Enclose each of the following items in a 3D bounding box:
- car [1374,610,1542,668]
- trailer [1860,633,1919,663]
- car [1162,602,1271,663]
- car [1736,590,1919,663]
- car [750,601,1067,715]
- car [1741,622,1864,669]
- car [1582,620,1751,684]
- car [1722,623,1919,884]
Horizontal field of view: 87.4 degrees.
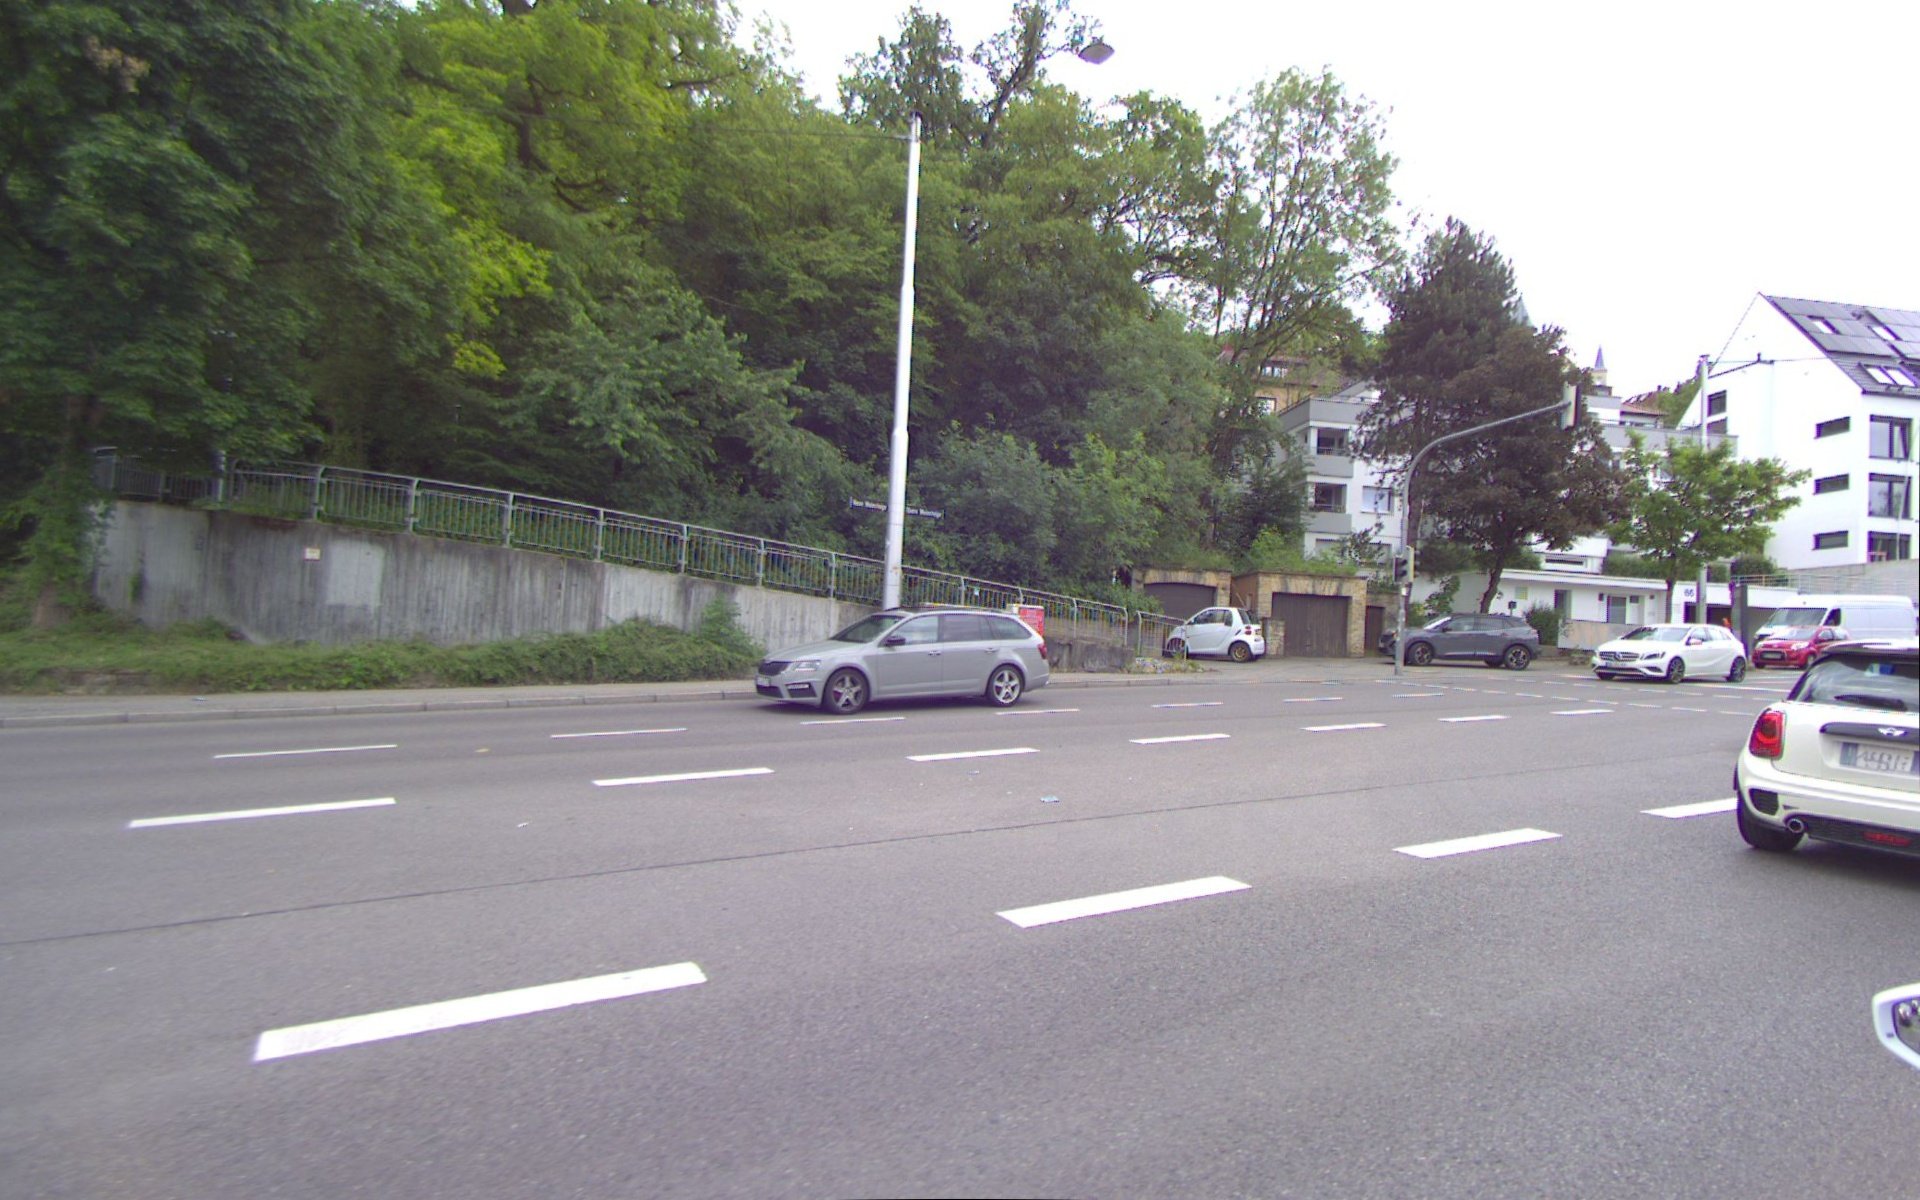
[{"bbox_3d":[14.249,1.097,28.921,4.049,1.560,1.600,1,-1,10],"label":"car"},{"bbox_3d":[38.949,1.941,40.400,4.551,1.127,2.244,1,-1,-19],"label":"trailer"},{"bbox_3d":[7.470,0.919,29.297,2.664,1.540,1.560,4,1,32],"label":"car"},{"bbox_3d":[33.373,1.035,38.445,7.308,2.602,2.229,1,-1,-20],"label":"car"},{"bbox_3d":[-0.681,0.800,15.004,4.518,1.468,1.641,1,0,-33],"label":"car"},{"bbox_3d":[28.292,1.512,33.737,3.871,1.485,1.618,1,-1,-24],"label":"car"},{"bbox_3d":[17.594,1.273,24.989,4.089,1.412,1.645,2,1,-26],"label":"car"},{"bbox_3d":[6.653,0.875,6.494,3.526,1.412,1.619,1,-2,-32],"label":"car"}]
